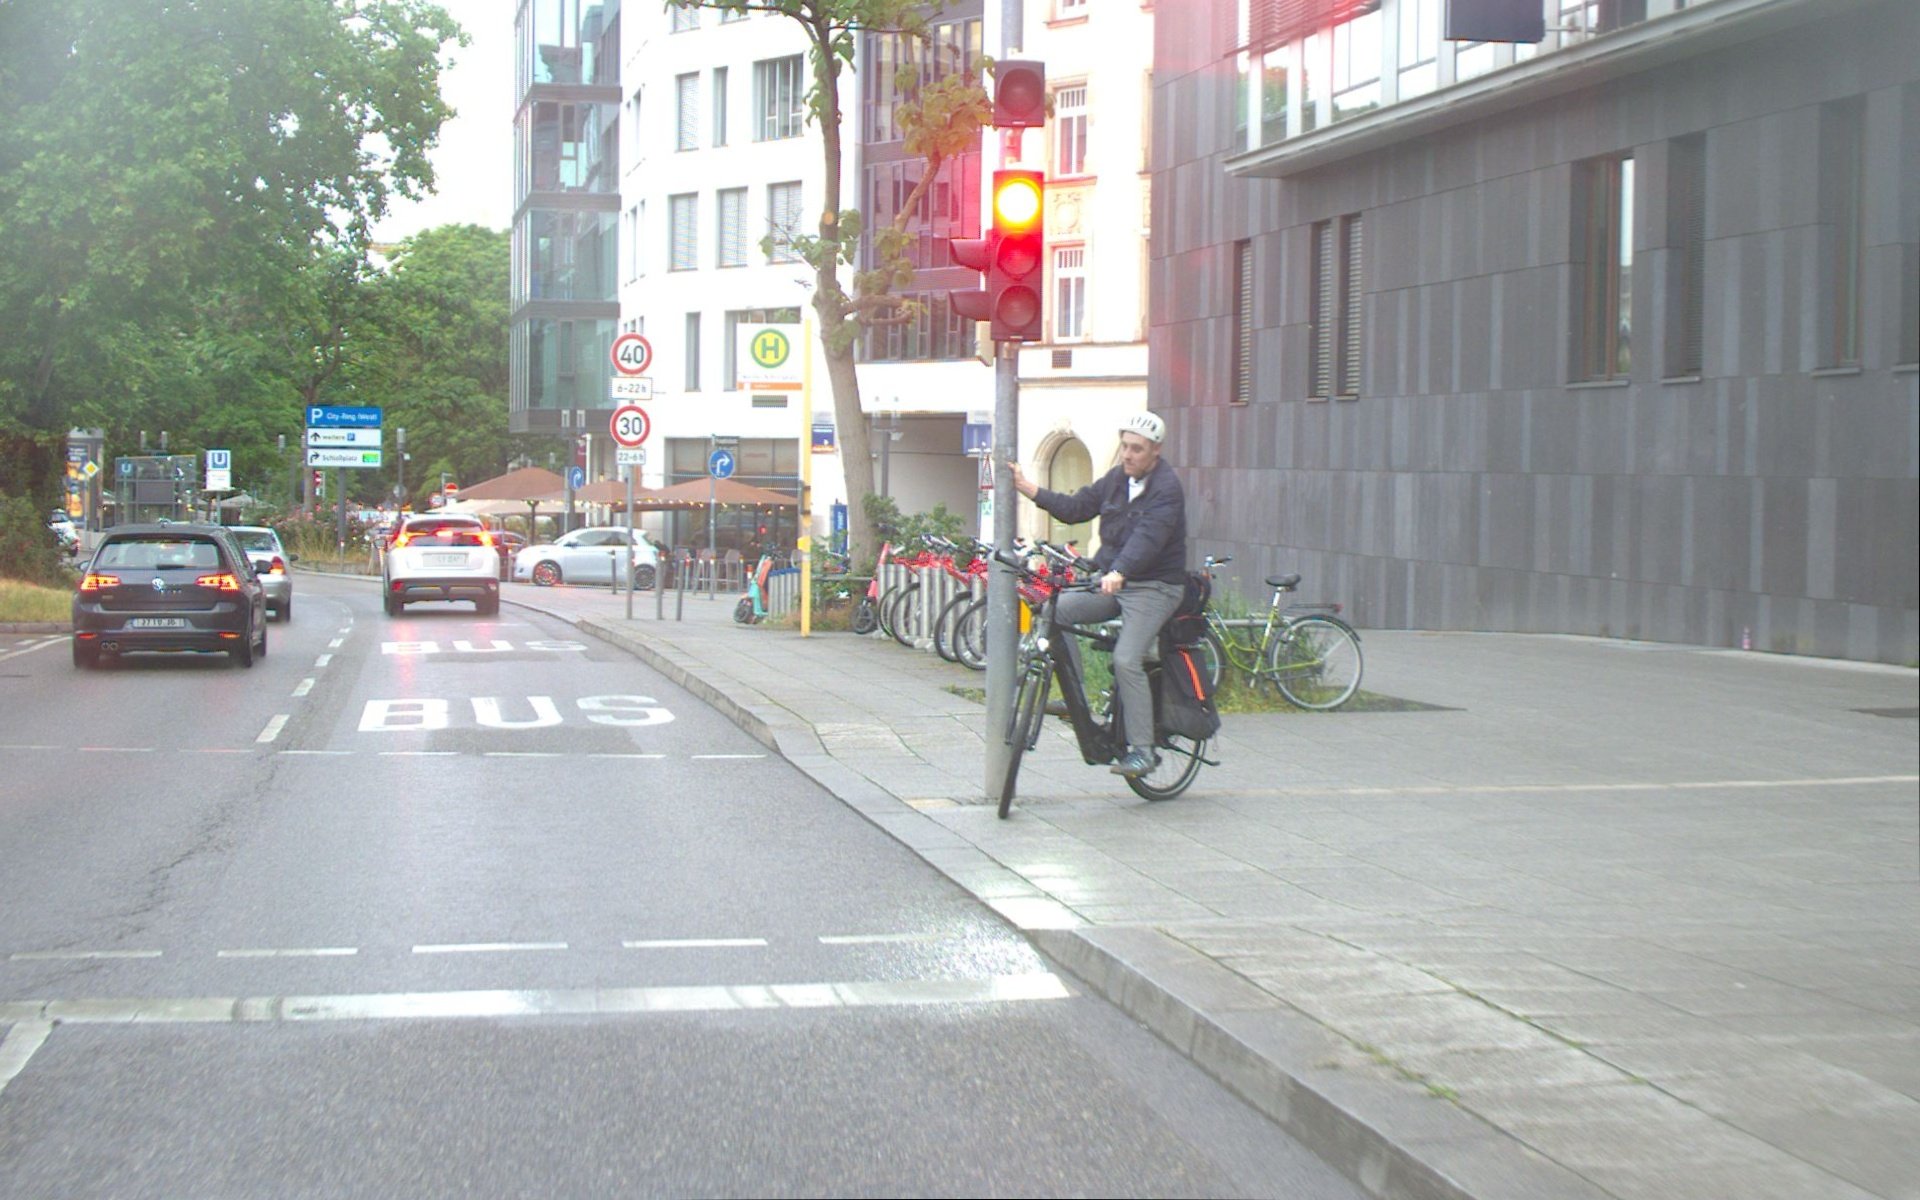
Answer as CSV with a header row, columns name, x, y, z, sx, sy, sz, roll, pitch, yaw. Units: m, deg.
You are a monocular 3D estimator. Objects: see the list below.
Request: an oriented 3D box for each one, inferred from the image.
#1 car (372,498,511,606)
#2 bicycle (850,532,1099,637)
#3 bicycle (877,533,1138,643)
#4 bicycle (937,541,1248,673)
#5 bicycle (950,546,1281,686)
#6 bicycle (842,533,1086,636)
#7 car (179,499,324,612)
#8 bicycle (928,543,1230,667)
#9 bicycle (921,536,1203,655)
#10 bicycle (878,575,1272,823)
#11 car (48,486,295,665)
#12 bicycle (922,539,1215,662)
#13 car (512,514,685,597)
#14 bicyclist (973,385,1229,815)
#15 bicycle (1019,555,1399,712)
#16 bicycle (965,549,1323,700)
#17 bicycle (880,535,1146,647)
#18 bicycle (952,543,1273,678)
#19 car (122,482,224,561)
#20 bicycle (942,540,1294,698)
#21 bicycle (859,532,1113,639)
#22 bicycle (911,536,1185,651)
name,x,y,z,sx,sy,sz,roll,pitch,yaw
car,-8.626,-0.821,57.040,2.178,1.695,4.001,1,1,-9
bicycle,0.144,-0.166,36.118,2.535,1.083,0.678,0,1,-10
bicycle,0.476,-0.128,34.504,2.535,1.083,0.678,0,1,-10
bicycle,1.109,0.050,28.998,2.535,1.083,0.678,0,1,-10
bicycle,1.230,0.114,27.337,2.535,1.083,0.678,0,1,-10
bicycle,0.038,-0.174,36.833,2.535,1.083,0.627,0,1,-10
car,-10.884,-0.717,53.020,1.944,1.641,4.246,1,1,-9
bicycle,1.030,0.032,29.861,2.535,1.056,0.678,0,1,-10
bicycle,0.944,-0.048,31.966,2.535,1.083,0.678,0,1,-10
bicycle,0.603,0.455,17.124,0.762,1.141,2.128,1,1,42
car,-8.075,-0.298,35.593,2.161,1.700,4.555,1,1,-9
bicycle,0.969,-0.005,30.767,2.535,1.083,0.678,0,1,-10
car,-8.784,-1.088,83.282,3.986,1.641,2.001,5,1,-8
bicyclist,0.710,-0.011,17.244,0.762,2.076,1.082,1,1,42
bicycle,1.719,0.223,23.861,2.535,1.053,0.678,0,1,-10
bicycle,1.348,0.177,25.311,2.535,1.083,0.678,0,1,-10
bicycle,0.515,-0.094,33.753,2.535,1.083,0.678,0,1,-10
bicycle,1.245,0.074,28.196,2.535,1.083,0.678,0,1,-10
car,-17.148,-1.723,74.815,1.944,1.641,4.001,1,1,-16
bicycle,1.192,0.139,26.104,2.535,1.083,0.678,2,1,-10
bicycle,0.265,-0.161,35.378,2.535,1.083,0.678,0,1,-10
bicycle,0.836,-0.072,32.939,2.535,1.083,0.678,0,1,-10
